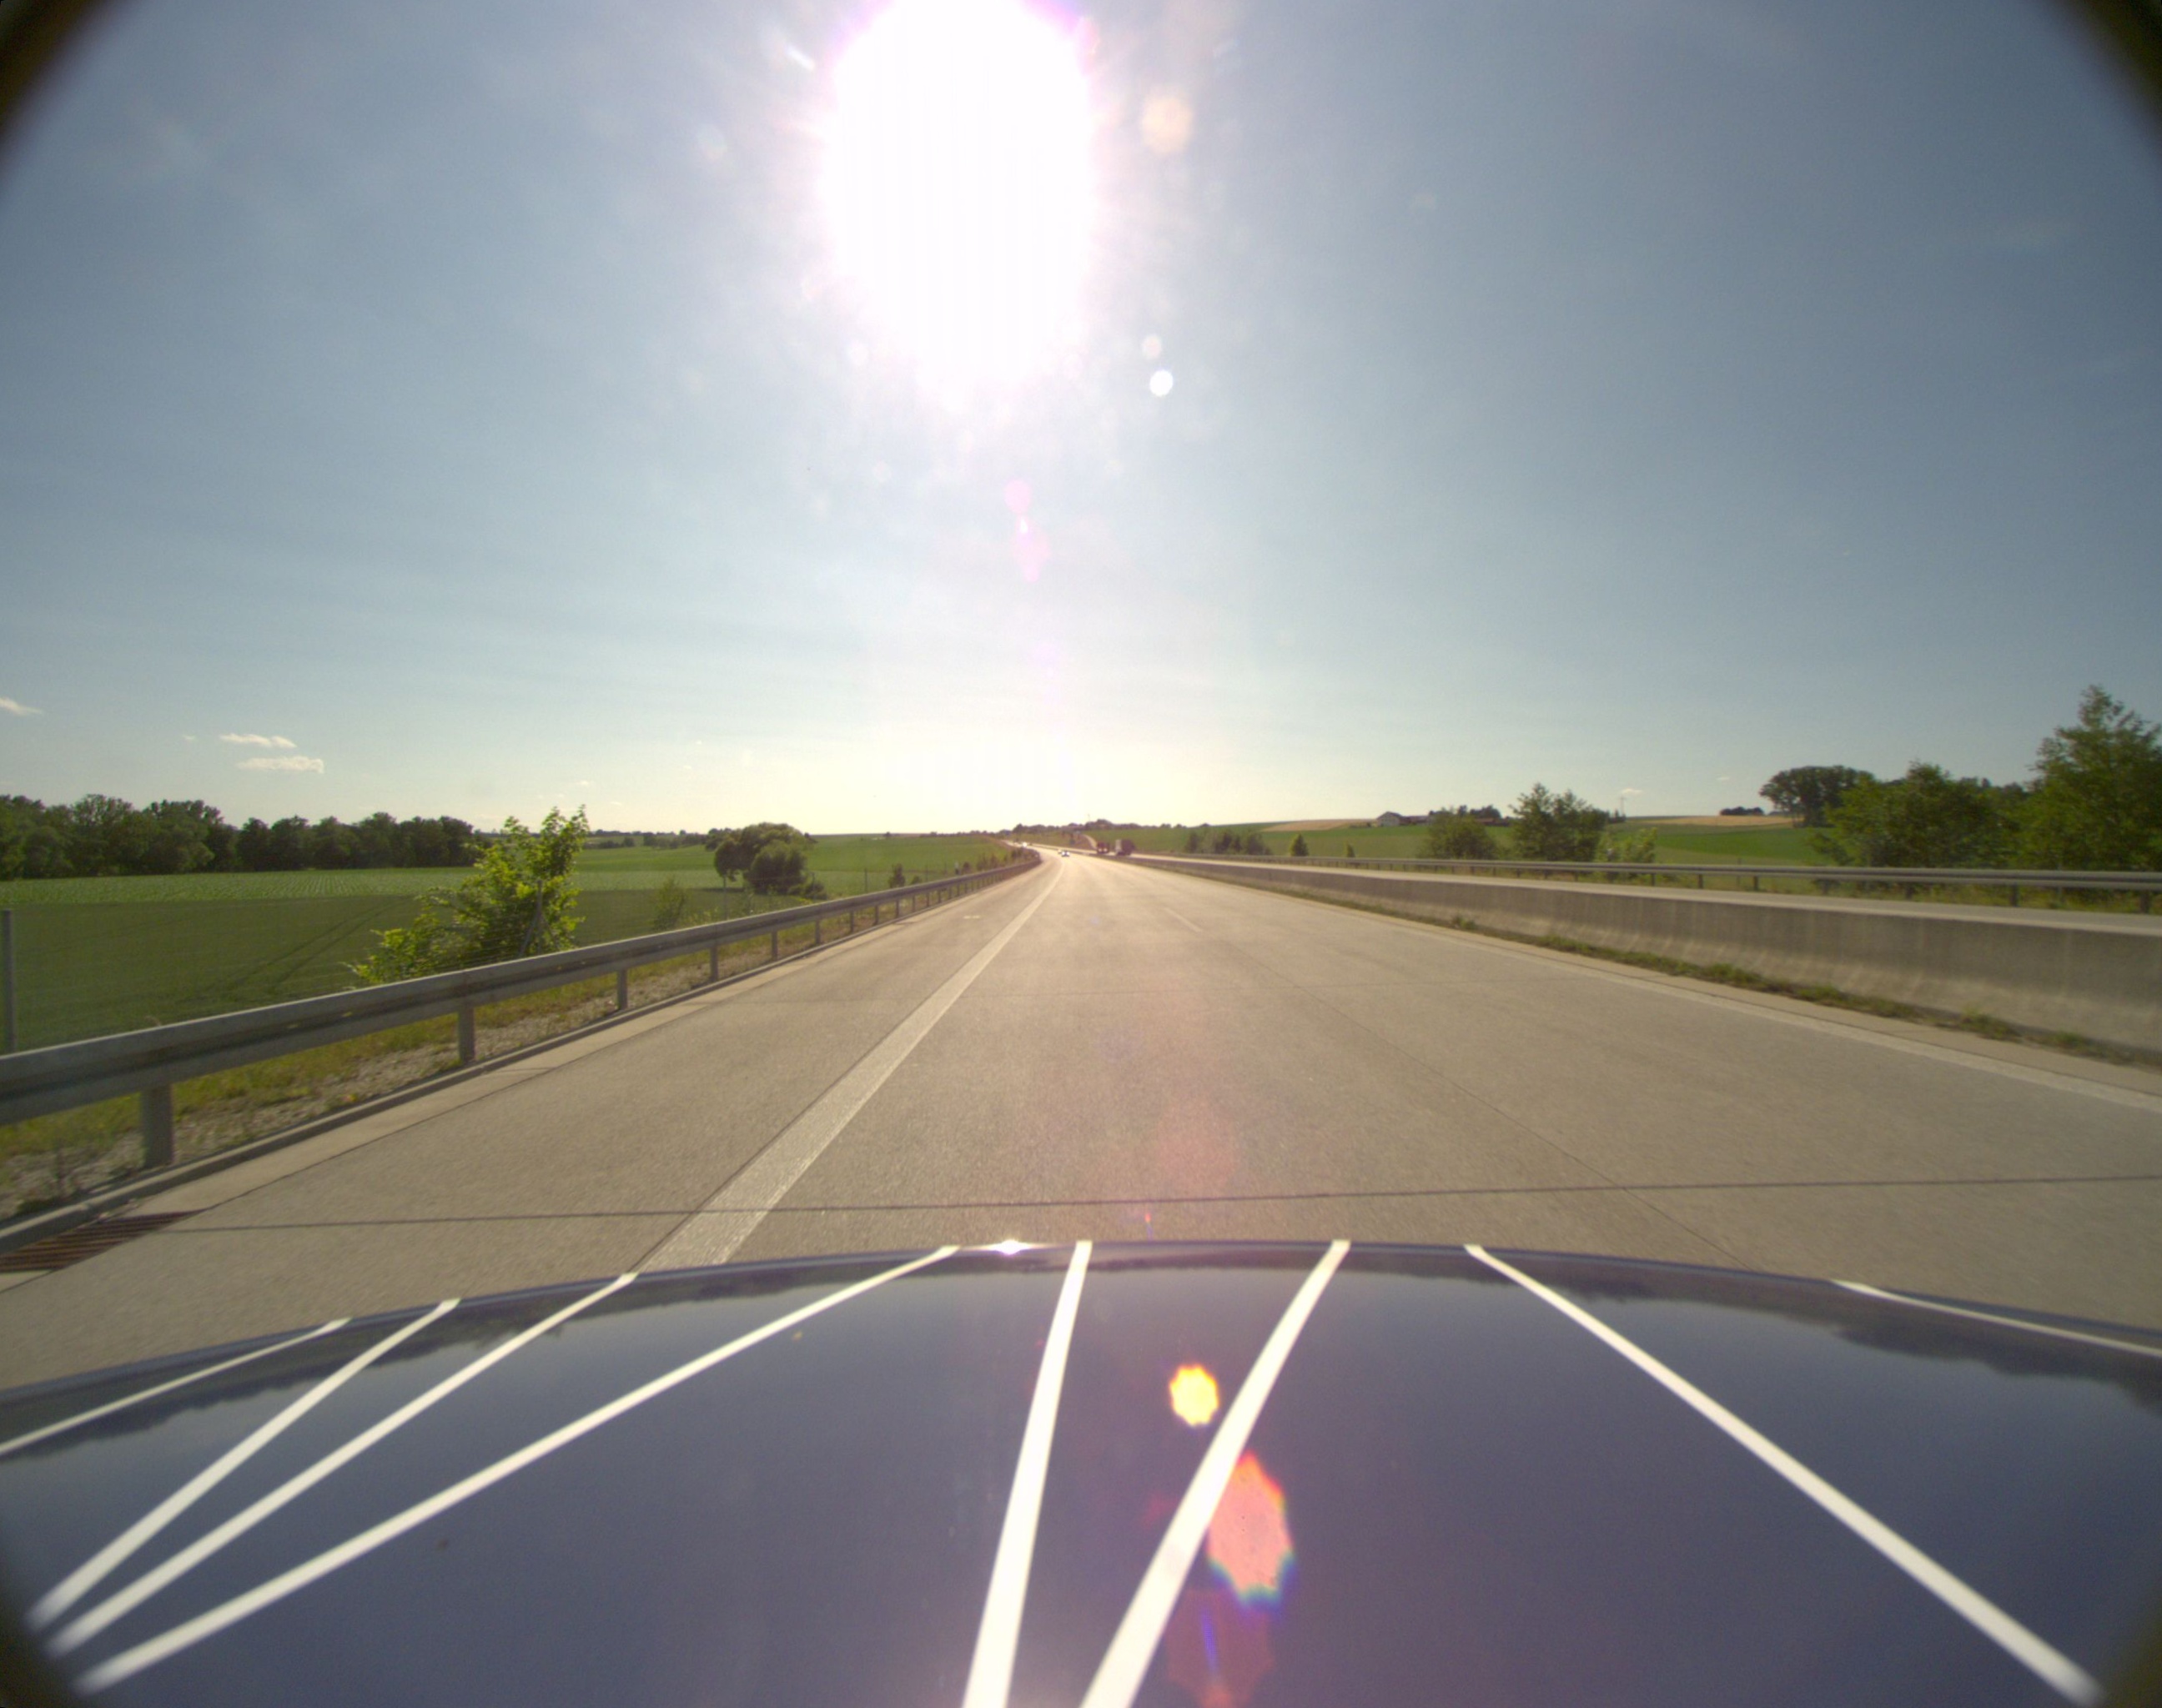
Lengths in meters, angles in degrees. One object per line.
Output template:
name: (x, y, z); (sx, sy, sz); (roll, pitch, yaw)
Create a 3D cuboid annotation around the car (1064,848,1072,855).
car: (-3.235, -0.604, 189.809); (1.715, 1.580, 4.625); (-2, 1, -2)

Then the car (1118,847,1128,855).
car: (8.570, -0.598, 155.748); (1.715, 1.580, 4.625); (-2, 1, -2)

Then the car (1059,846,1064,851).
car: (-6.419, -1.850, 253.608); (1.715, 1.580, 4.625); (-2, 1, -2)

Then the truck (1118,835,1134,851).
truck: (11.343, -2.734, 192.946); (2.867, 3.985, 13.863); (-1, 1, -2)

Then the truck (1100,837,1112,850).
truck: (8.082, -3.513, 248.736); (2.875, 3.992, 17.108); (-1, 1, -2)
